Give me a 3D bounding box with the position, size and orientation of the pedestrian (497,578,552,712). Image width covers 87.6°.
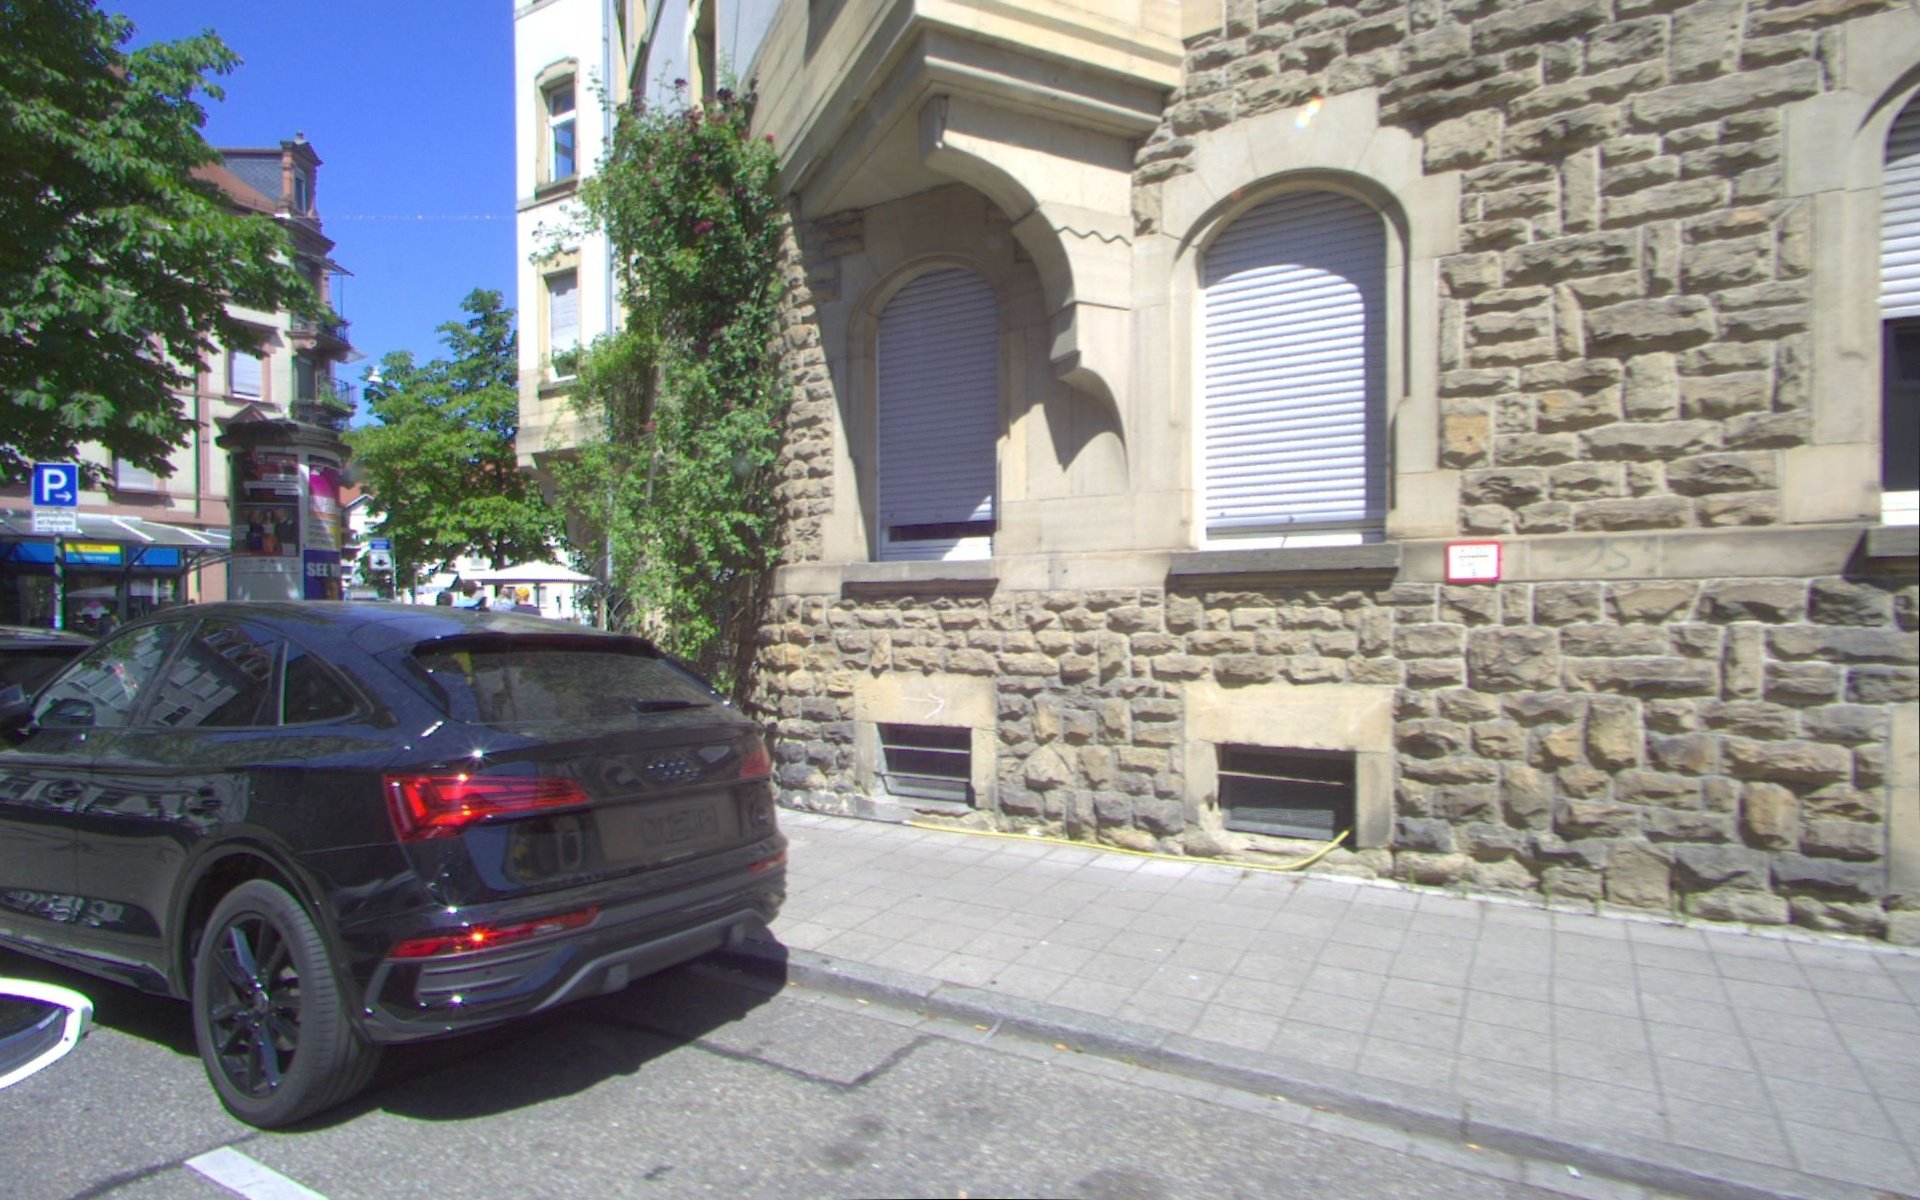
[{"bbox_3d":[-6.410,0.650,14.768,0.590,1.904,0.882,-1,0,-14],"label":"pedestrian"}]

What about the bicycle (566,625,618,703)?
[{"bbox_3d":[-5.496,0.921,14.911,0.541,1.053,1.829,-1,0,-26],"label":"bicycle"}]

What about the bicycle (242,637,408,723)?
[{"bbox_3d":[-8.899,1.091,14.120,0.624,1.053,1.896,0,0,31],"label":"bicycle"}]

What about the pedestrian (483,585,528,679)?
[{"bbox_3d":[-8.970,0.621,19.788,0.572,1.818,0.749,-1,1,-7],"label":"pedestrian"}]

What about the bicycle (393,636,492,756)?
[{"bbox_3d":[-6.083,1.041,11.688,0.785,1.184,2.563,-1,0,-33],"label":"bicycle"}]

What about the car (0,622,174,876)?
[{"bbox_3d":[-7.622,0.941,7.260,4.117,1.560,1.661,-1,-2,31],"label":"car"}]

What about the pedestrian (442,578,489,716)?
[{"bbox_3d":[-6.933,0.646,14.059,0.511,1.893,0.652,-1,0,-20],"label":"pedestrian"}]

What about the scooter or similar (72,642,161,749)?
[{"bbox_3d":[-9.890,1.091,11.771,0.436,1.151,1.181,-1,0,-22],"label":"scooter or similar"}]

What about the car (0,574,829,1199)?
[{"bbox_3d":[-2.830,0.802,4.384,4.281,1.617,1.735,-1,-2,29],"label":"car"}]

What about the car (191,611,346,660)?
[{"bbox_3d":[-23.480,1.155,34.153,1.752,1.526,3.981,-1,0,30],"label":"car"}]

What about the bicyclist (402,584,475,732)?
[{"bbox_3d":[-6.131,0.659,11.766,0.670,1.669,0.658,-1,1,-33],"label":"bicyclist"}]
